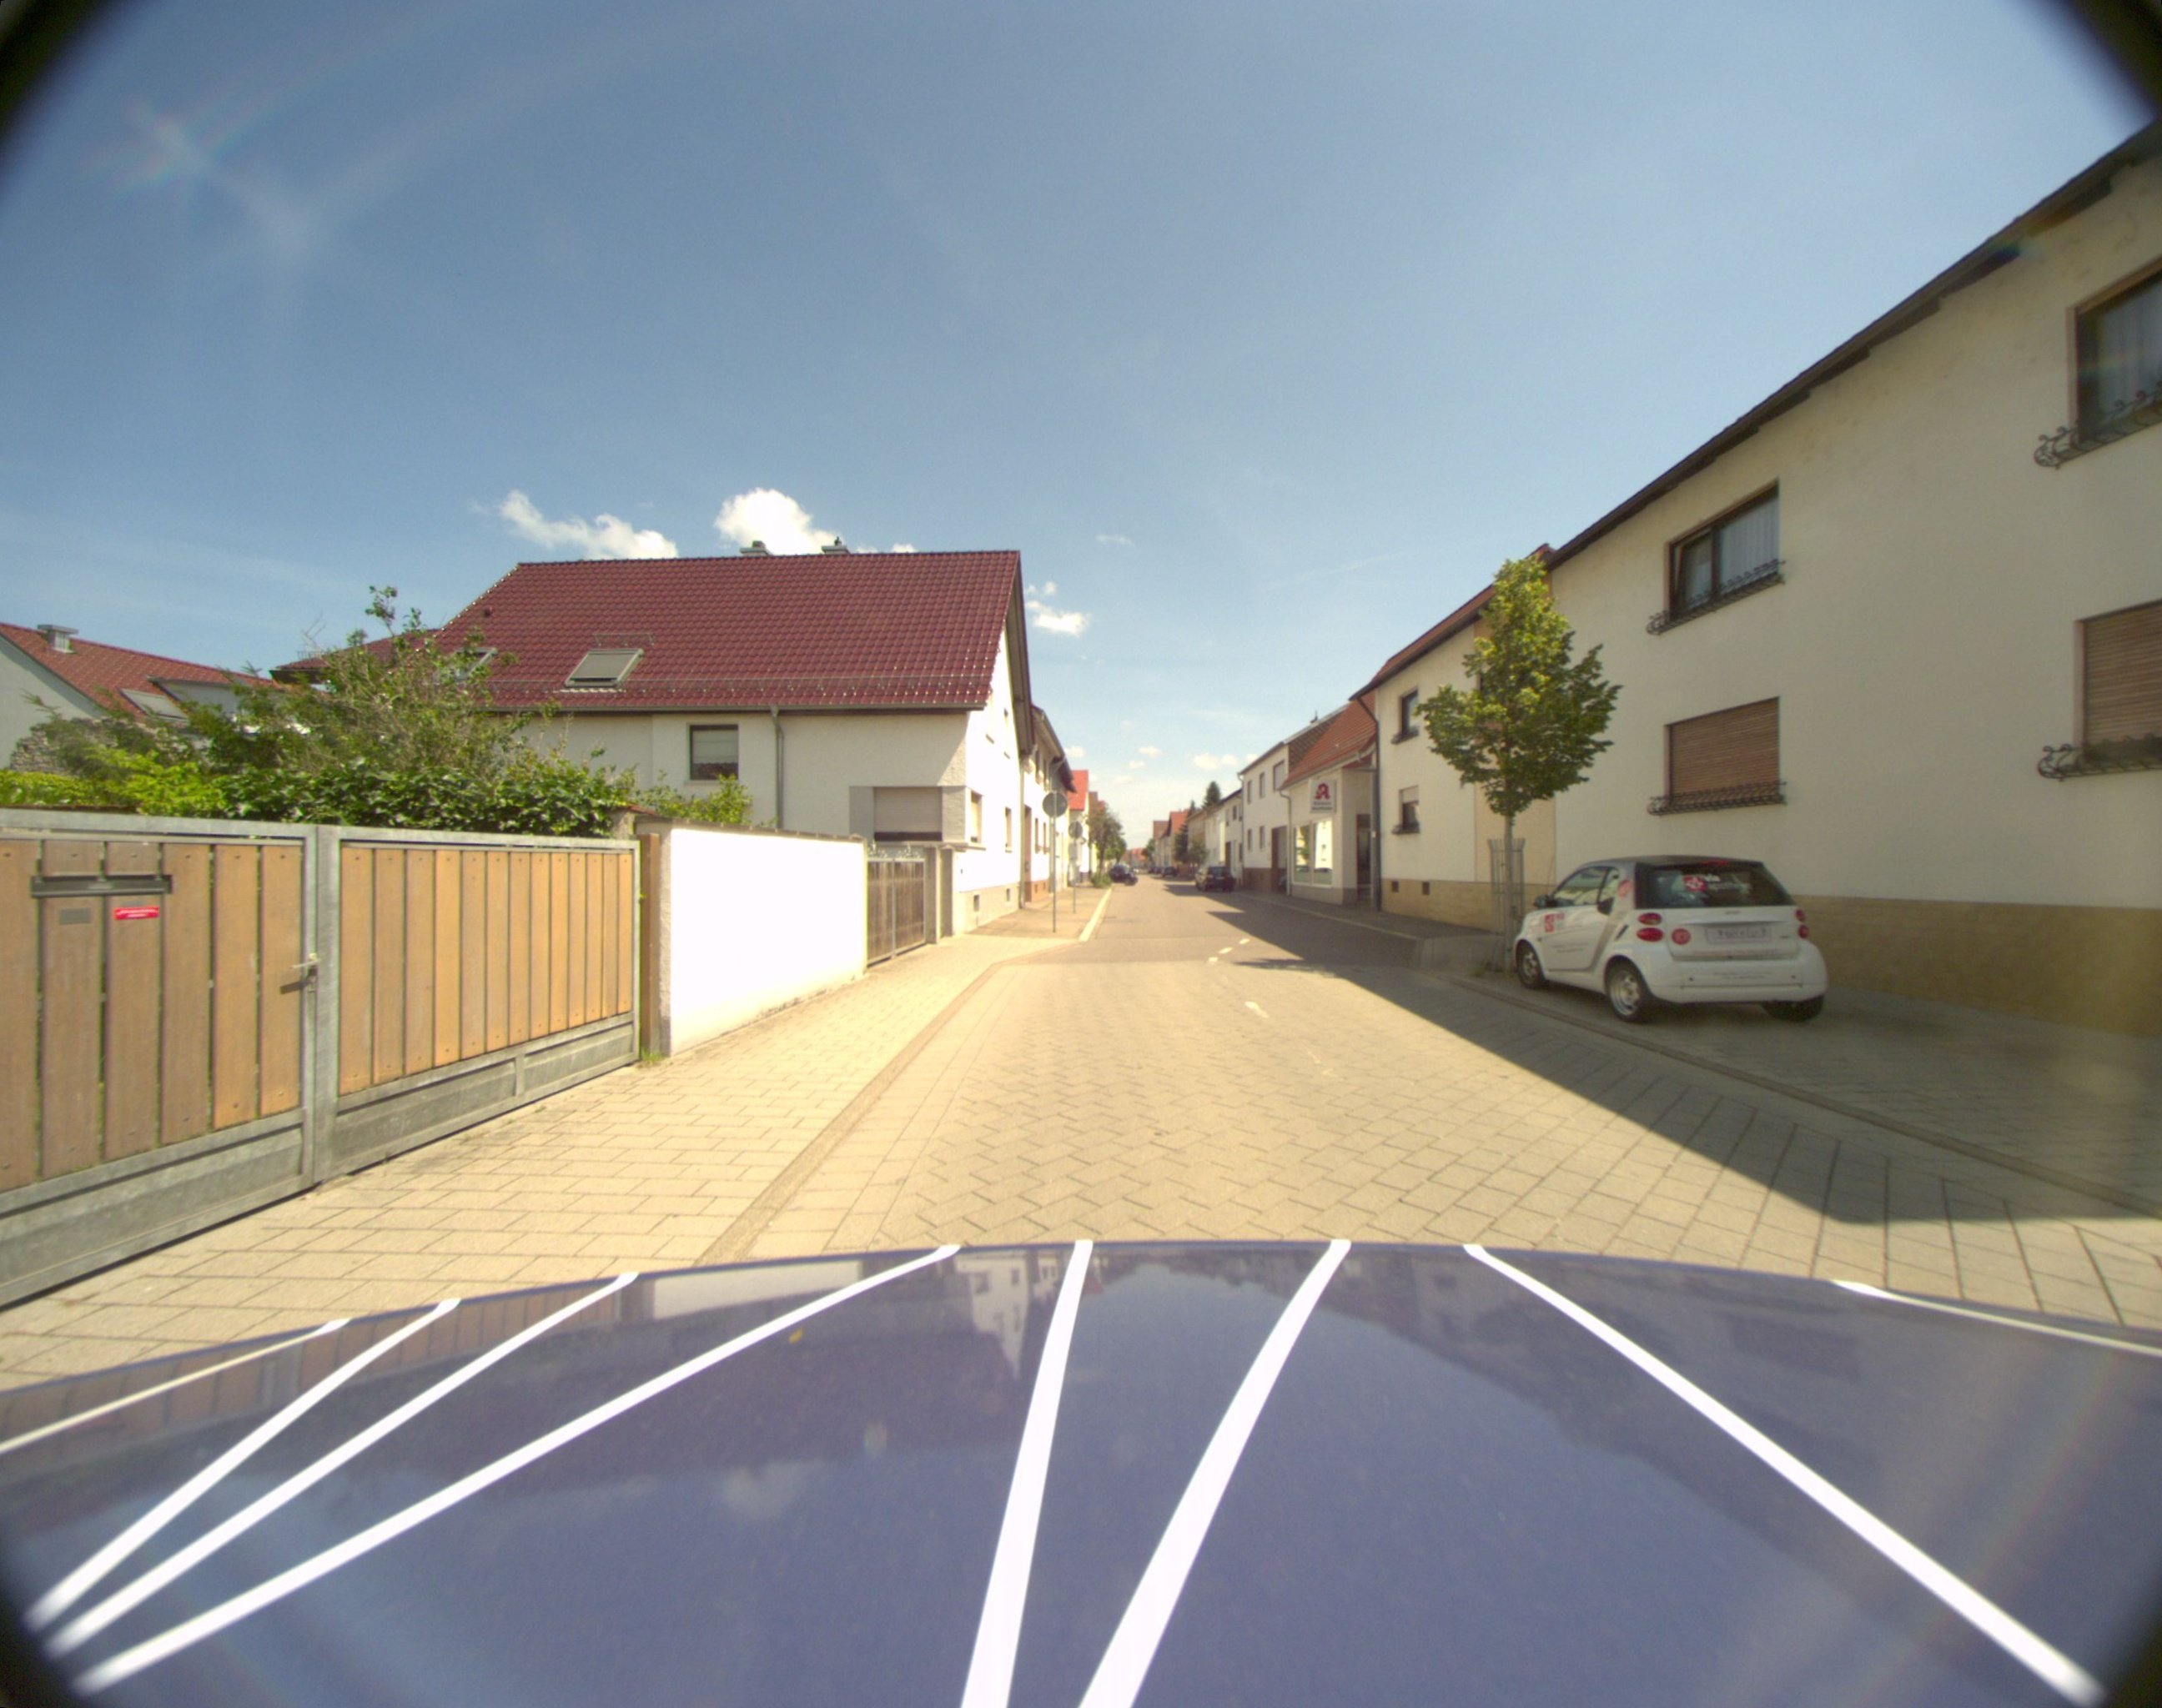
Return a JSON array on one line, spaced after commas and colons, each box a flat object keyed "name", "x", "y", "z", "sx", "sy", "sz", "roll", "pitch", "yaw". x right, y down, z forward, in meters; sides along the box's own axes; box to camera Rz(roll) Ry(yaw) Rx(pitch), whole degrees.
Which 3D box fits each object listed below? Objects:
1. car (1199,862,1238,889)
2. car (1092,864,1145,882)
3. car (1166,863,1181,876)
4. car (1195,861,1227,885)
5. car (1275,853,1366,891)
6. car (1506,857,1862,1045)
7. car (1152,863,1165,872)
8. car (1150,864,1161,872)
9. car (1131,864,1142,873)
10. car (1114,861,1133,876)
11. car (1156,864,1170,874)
[{"name": "car", "x": 8.296, "y": 1.269, "z": 46.098, "sx": 1.752, "sy": 1.557, "sz": 3.956, "roll": 0, "pitch": 0, "yaw": 2}, {"name": "car", "x": 2.971, "y": 1.503, "z": 60.149, "sx": 3.808, "sy": 1.420, "sz": 1.731, "roll": 0, "pitch": 0, "yaw": 28}, {"name": "car", "x": 12.379, "y": 2.084, "z": 101.855, "sx": 1.851, "sy": 1.688, "sz": 4.001, "roll": 0, "pitch": 0, "yaw": 4}, {"name": "car", "x": 9.105, "y": 1.317, "z": 53.583, "sx": 1.758, "sy": 1.608, "sz": 4.122, "roll": 0, "pitch": 0, "yaw": 3}, {"name": "car", "x": 11.885, "y": 0.888, "z": 37.902, "sx": 3.995, "sy": 1.708, "sz": 1.815, "roll": -3, "pitch": 0, "yaw": 5}, {"name": "car", "x": 5.946, "y": 0.848, "z": 7.927, "sx": 1.576, "sy": 1.552, "sz": 2.823, "roll": -3, "pitch": 0, "yaw": 5}, {"name": "car", "x": 14.374, "y": 2.554, "z": 141.192, "sx": 1.998, "sy": 1.570, "sz": 4.001, "roll": 0, "pitch": 0, "yaw": 1}, {"name": "car", "x": 14.389, "y": 2.722, "z": 147.067, "sx": 1.998, "sy": 1.570, "sz": 4.001, "roll": 0, "pitch": 0, "yaw": 3}, {"name": "car", "x": 9.589, "y": 2.445, "z": 131.217, "sx": 1.957, "sy": 1.521, "sz": 4.001, "roll": 0, "pitch": 0, "yaw": 4}, {"name": "car", "x": 4.876, "y": 1.620, "z": 86.774, "sx": 1.998, "sy": 1.696, "sz": 4.002, "roll": 0, "pitch": 0, "yaw": 5}, {"name": "car", "x": 13.339, "y": 2.362, "z": 123.372, "sx": 1.854, "sy": 1.543, "sz": 4.001, "roll": 0, "pitch": 0, "yaw": 1}]
